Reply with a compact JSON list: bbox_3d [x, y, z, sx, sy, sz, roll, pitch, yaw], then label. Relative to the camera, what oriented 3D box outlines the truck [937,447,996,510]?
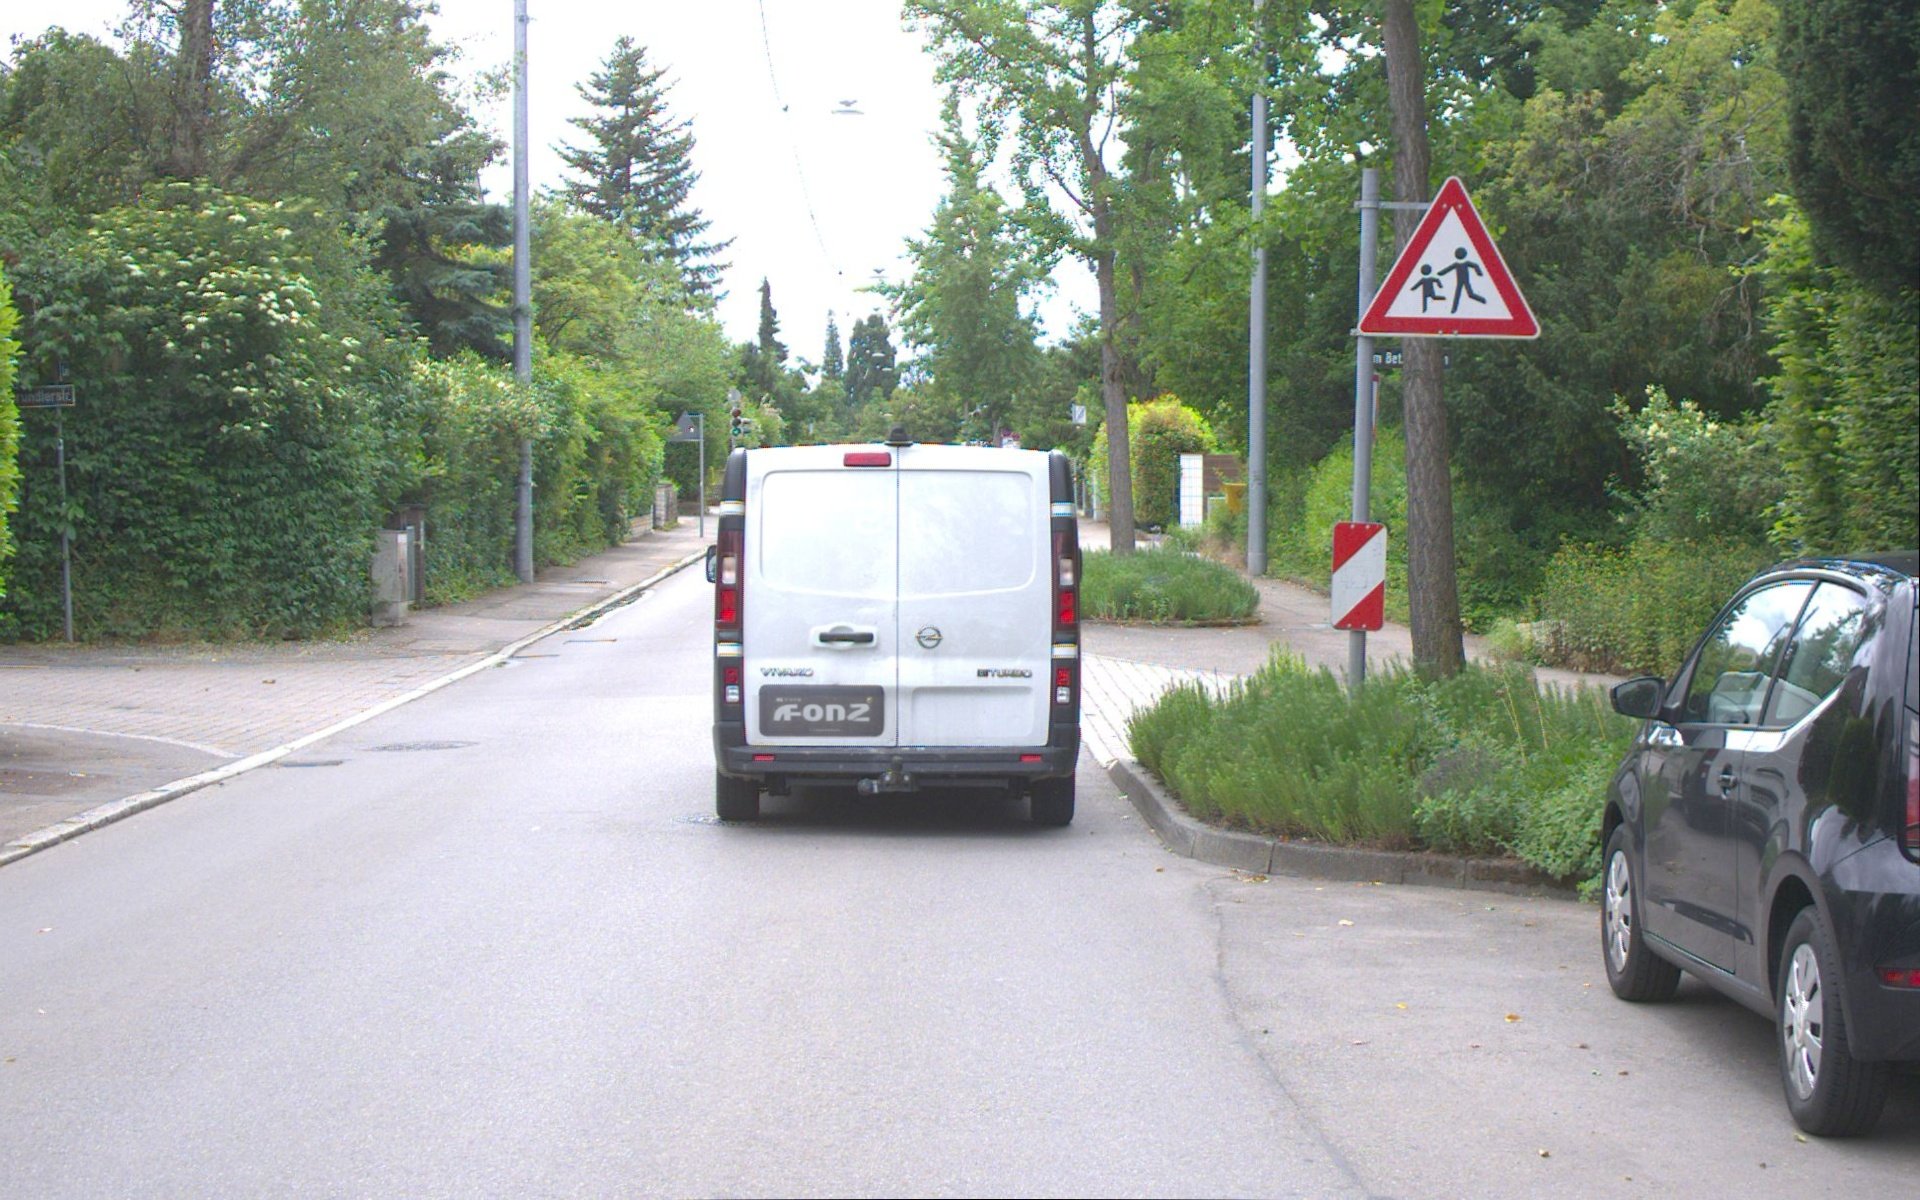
[{"bbox_3d":[0.239,-4.991,140.121,2.187,2.463,7.432,1,2,-1],"label":"truck"}]

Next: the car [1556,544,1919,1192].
[{"bbox_3d":[2.896,0.604,9.932,1.623,1.468,3.741,0,2,-1],"label":"car"}]

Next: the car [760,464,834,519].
[{"bbox_3d":[-4.578,-3.082,97.013,1.805,1.426,4.301,-3,2,0],"label":"car"}]

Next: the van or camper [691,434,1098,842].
[{"bbox_3d":[-0.385,0.133,19.020,1.939,1.947,4.766,1,1,-2],"label":"van or camper"}]

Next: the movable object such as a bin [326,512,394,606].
[{"bbox_3d":[-7.396,-0.510,42.404,0.727,1.113,0.585,3,2,-4],"label":"movable object such as a bin"}]
